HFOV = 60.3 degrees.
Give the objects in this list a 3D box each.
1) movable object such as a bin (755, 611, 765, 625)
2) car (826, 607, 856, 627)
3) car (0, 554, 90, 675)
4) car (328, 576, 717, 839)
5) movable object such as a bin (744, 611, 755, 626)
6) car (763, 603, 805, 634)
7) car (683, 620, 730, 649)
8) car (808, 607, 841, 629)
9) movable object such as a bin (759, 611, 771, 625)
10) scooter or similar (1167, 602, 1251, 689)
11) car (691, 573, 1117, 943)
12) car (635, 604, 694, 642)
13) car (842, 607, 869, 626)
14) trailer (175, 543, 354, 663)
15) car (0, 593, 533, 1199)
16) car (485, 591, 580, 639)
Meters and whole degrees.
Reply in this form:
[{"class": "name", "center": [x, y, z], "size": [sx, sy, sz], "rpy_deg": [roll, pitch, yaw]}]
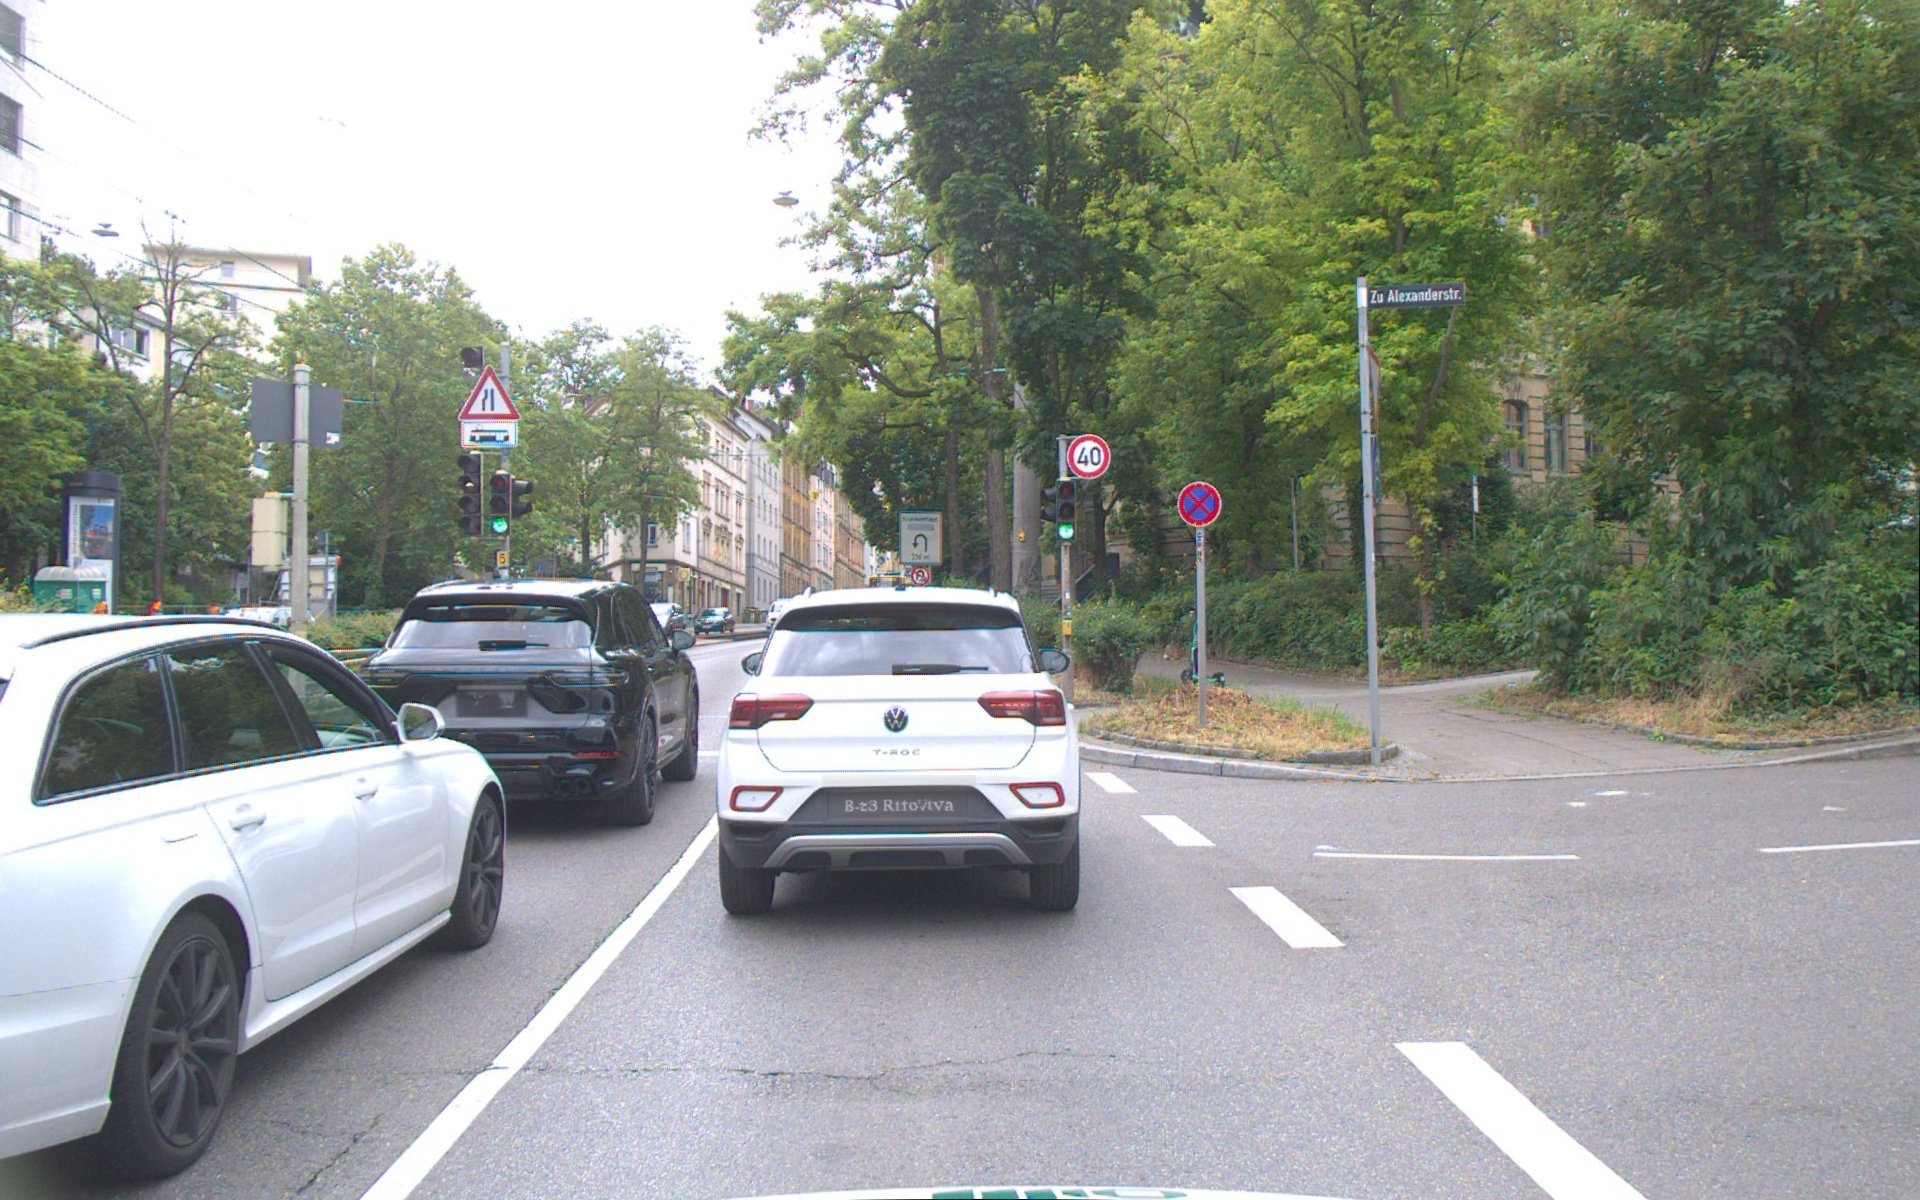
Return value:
[{"class": "movable object such as a bin", "center": [-15.810, 1.428, 130.742], "size": [0.712, 1.092, 0.672], "rpy_deg": [0, -1, 4]}, {"class": "car", "center": [-9.557, 1.379, 133.213], "size": [1.952, 1.579, 4.001], "rpy_deg": [-1, 0, 2]}, {"class": "car", "center": [-21.949, 0.341, 36.303], "size": [2.112, 2.639, 6.338], "rpy_deg": [-1, 0, 2]}, {"class": "car", "center": [-3.023, 0.673, 12.426], "size": [1.997, 1.599, 4.355], "rpy_deg": [-1, 0, -4]}, {"class": "movable object such as a bin", "center": [-16.084, 1.404, 126.509], "size": [0.672, 1.092, 0.677], "rpy_deg": [0, -1, 4]}, {"class": "car", "center": [-11.617, 1.205, 109.361], "size": [1.906, 1.980, 5.005], "rpy_deg": [0, 0, 4]}, {"class": "car", "center": [-13.457, 1.792, 87.878], "size": [1.730, 1.432, 4.083], "rpy_deg": [-1, 0, 2]}, {"class": "car", "center": [-10.220, 1.333, 124.915], "size": [1.952, 1.579, 4.001], "rpy_deg": [-1, 0, 2]}, {"class": "movable object such as a bin", "center": [-15.663, 1.440, 132.704], "size": [0.807, 1.092, 0.677], "rpy_deg": [0, -1, 4]}, {"class": "scooter or similar", "center": [3.674, 0.656, 24.530], "size": [0.620, 1.231, 1.550], "rpy_deg": [-1, 0, -17]}, {"class": "car", "center": [-0.287, 0.693, 9.194], "size": [1.841, 1.582, 3.999], "rpy_deg": [-1, 0, -1]}, {"class": "car", "center": [-13.520, 1.040, 75.916], "size": [1.953, 1.646, 4.000], "rpy_deg": [-1, 0, 0]}, {"class": "car", "center": [-9.077, 1.432, 144.125], "size": [1.952, 1.579, 4.001], "rpy_deg": [-1, 0, 2]}, {"class": "trailer", "center": [-18.771, 0.094, 45.010], "size": [1.976, 3.025, 5.593], "rpy_deg": [1, 0, 6]}, {"class": "car", "center": [-2.886, 0.746, 5.465], "size": [1.841, 1.480, 4.616], "rpy_deg": [-1, 0, -1]}, {"class": "car", "center": [-15.351, 0.514, 59.689], "size": [1.952, 1.633, 4.612], "rpy_deg": [-1, 0, 4]}]
